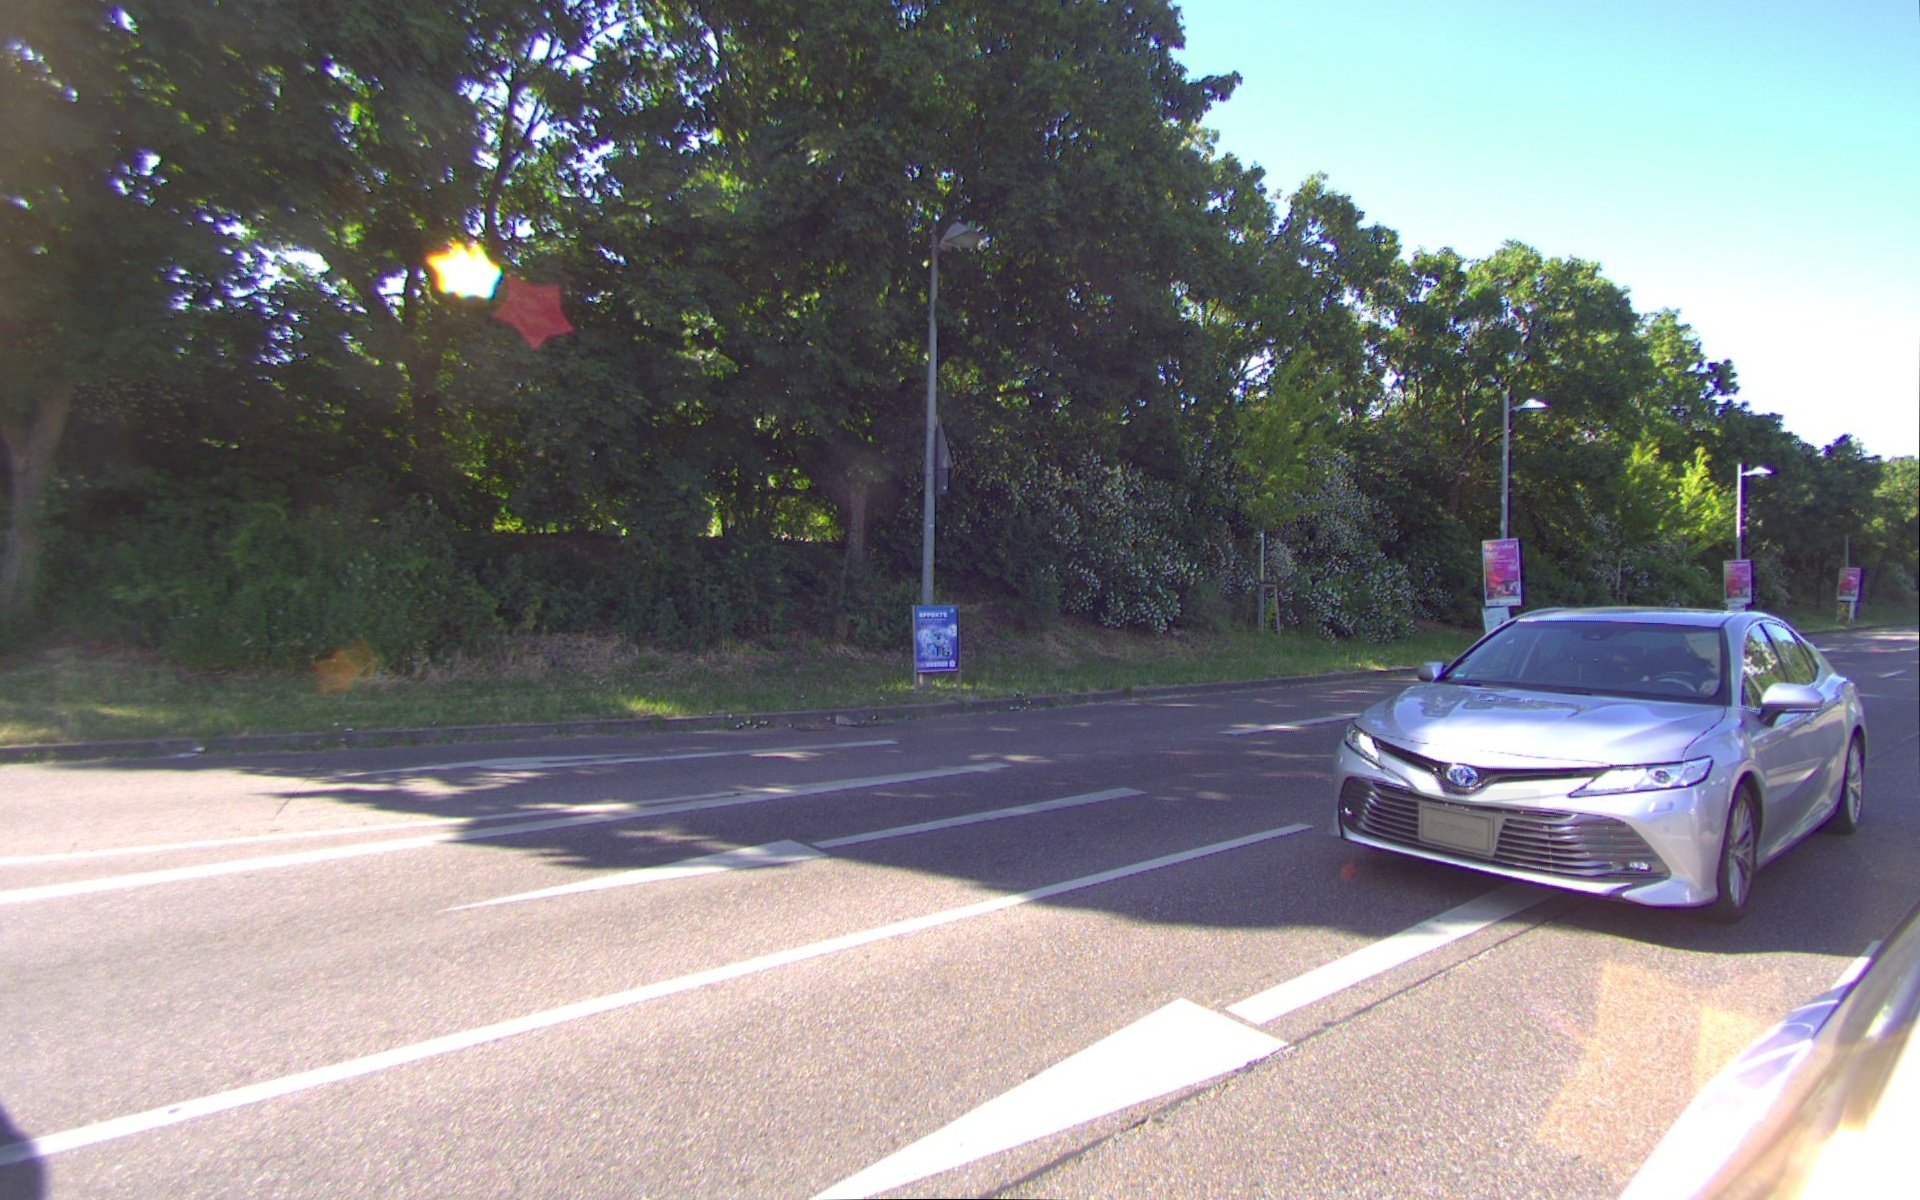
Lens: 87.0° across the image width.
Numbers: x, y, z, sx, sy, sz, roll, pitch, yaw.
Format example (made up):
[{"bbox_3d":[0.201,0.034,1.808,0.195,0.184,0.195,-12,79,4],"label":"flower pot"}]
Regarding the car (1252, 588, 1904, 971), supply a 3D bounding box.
[{"bbox_3d":[4.066,0.693,6.295,4.664,1.477,2.069,0,2,-40],"label":"car"}]
